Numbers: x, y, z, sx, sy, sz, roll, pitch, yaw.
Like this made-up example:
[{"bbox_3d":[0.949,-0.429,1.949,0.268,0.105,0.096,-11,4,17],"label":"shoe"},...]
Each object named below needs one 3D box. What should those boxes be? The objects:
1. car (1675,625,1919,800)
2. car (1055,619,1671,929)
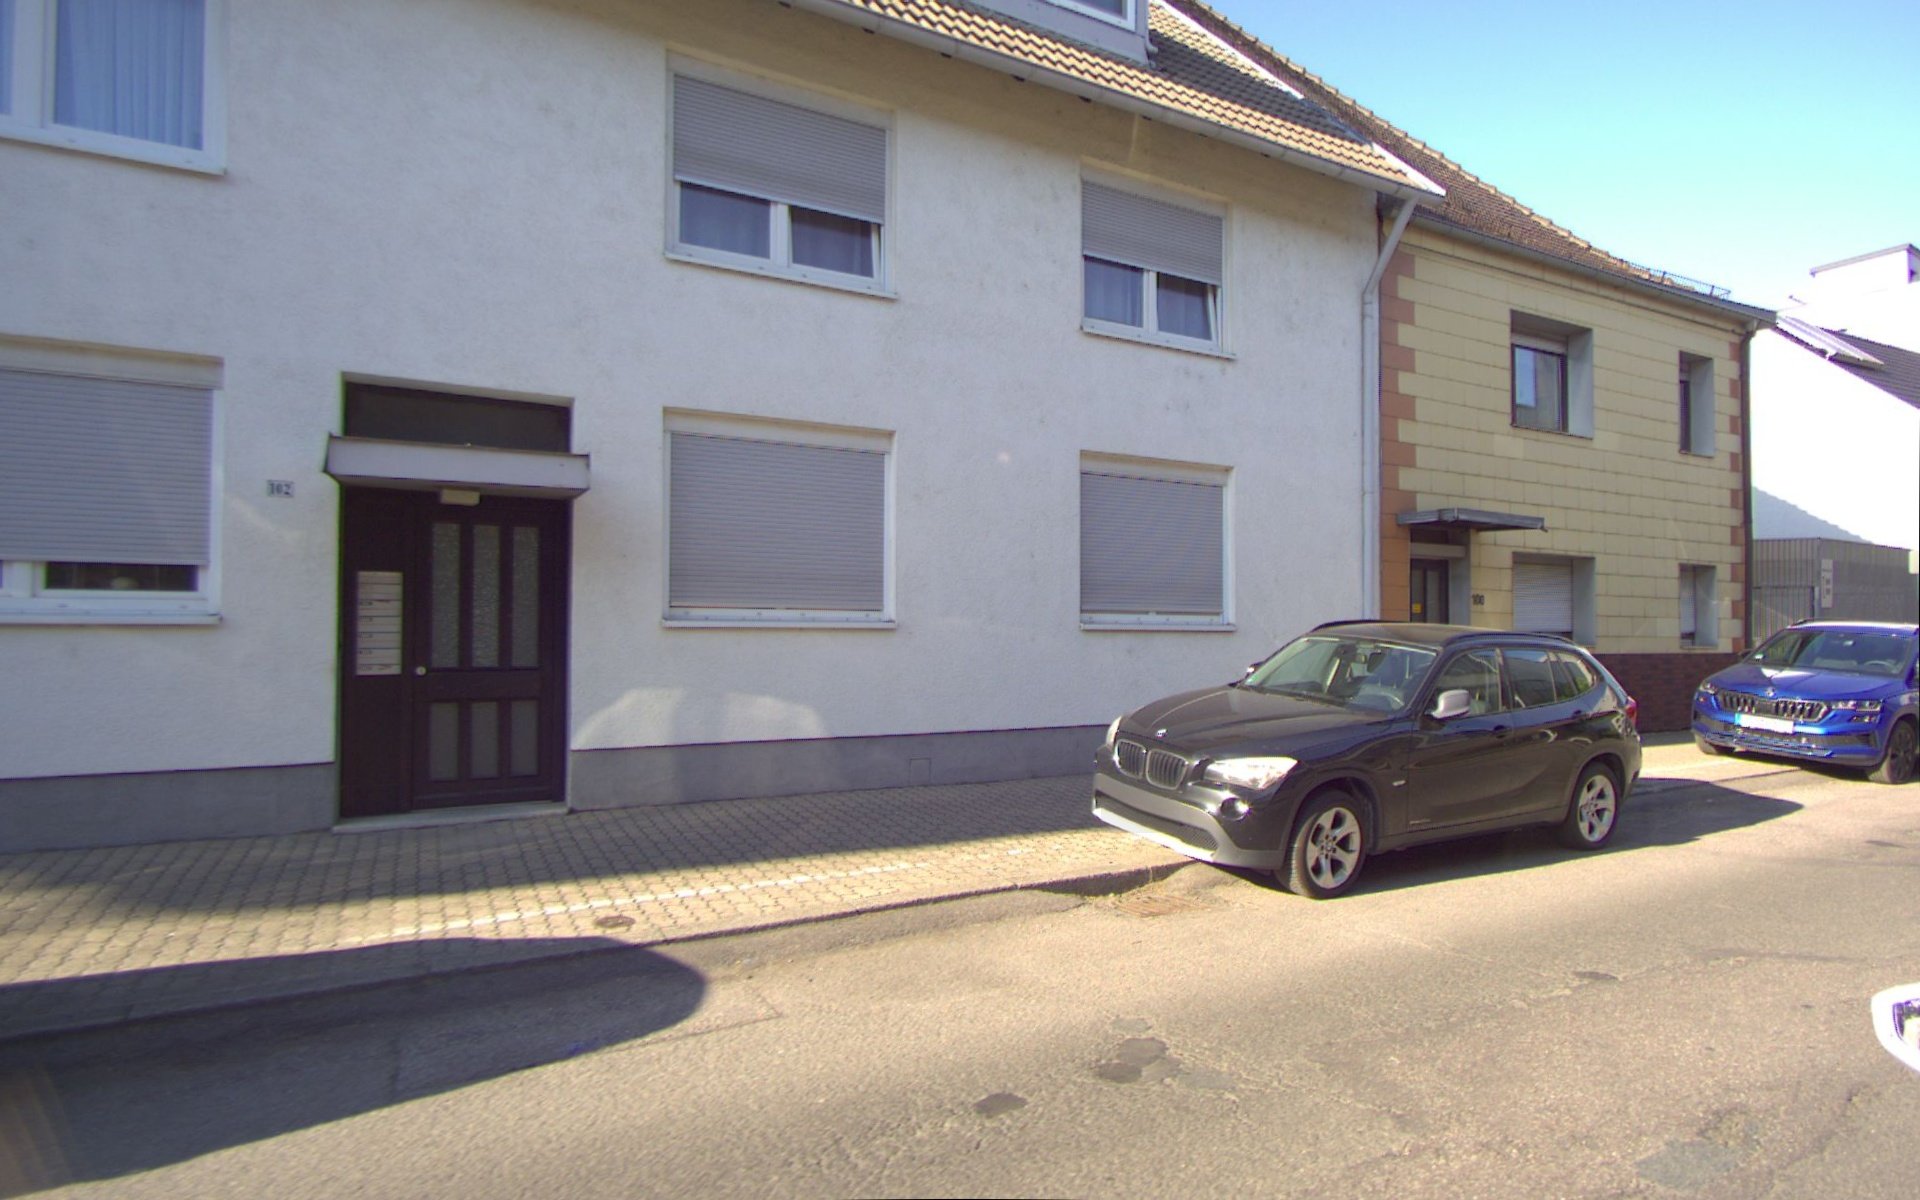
[{"bbox_3d":[10.322,1.140,11.615,4.143,1.608,1.800,-1,0,-30],"label":"car"},{"bbox_3d":[2.964,0.963,7.218,4.283,1.608,1.850,0,-1,-29],"label":"car"}]
